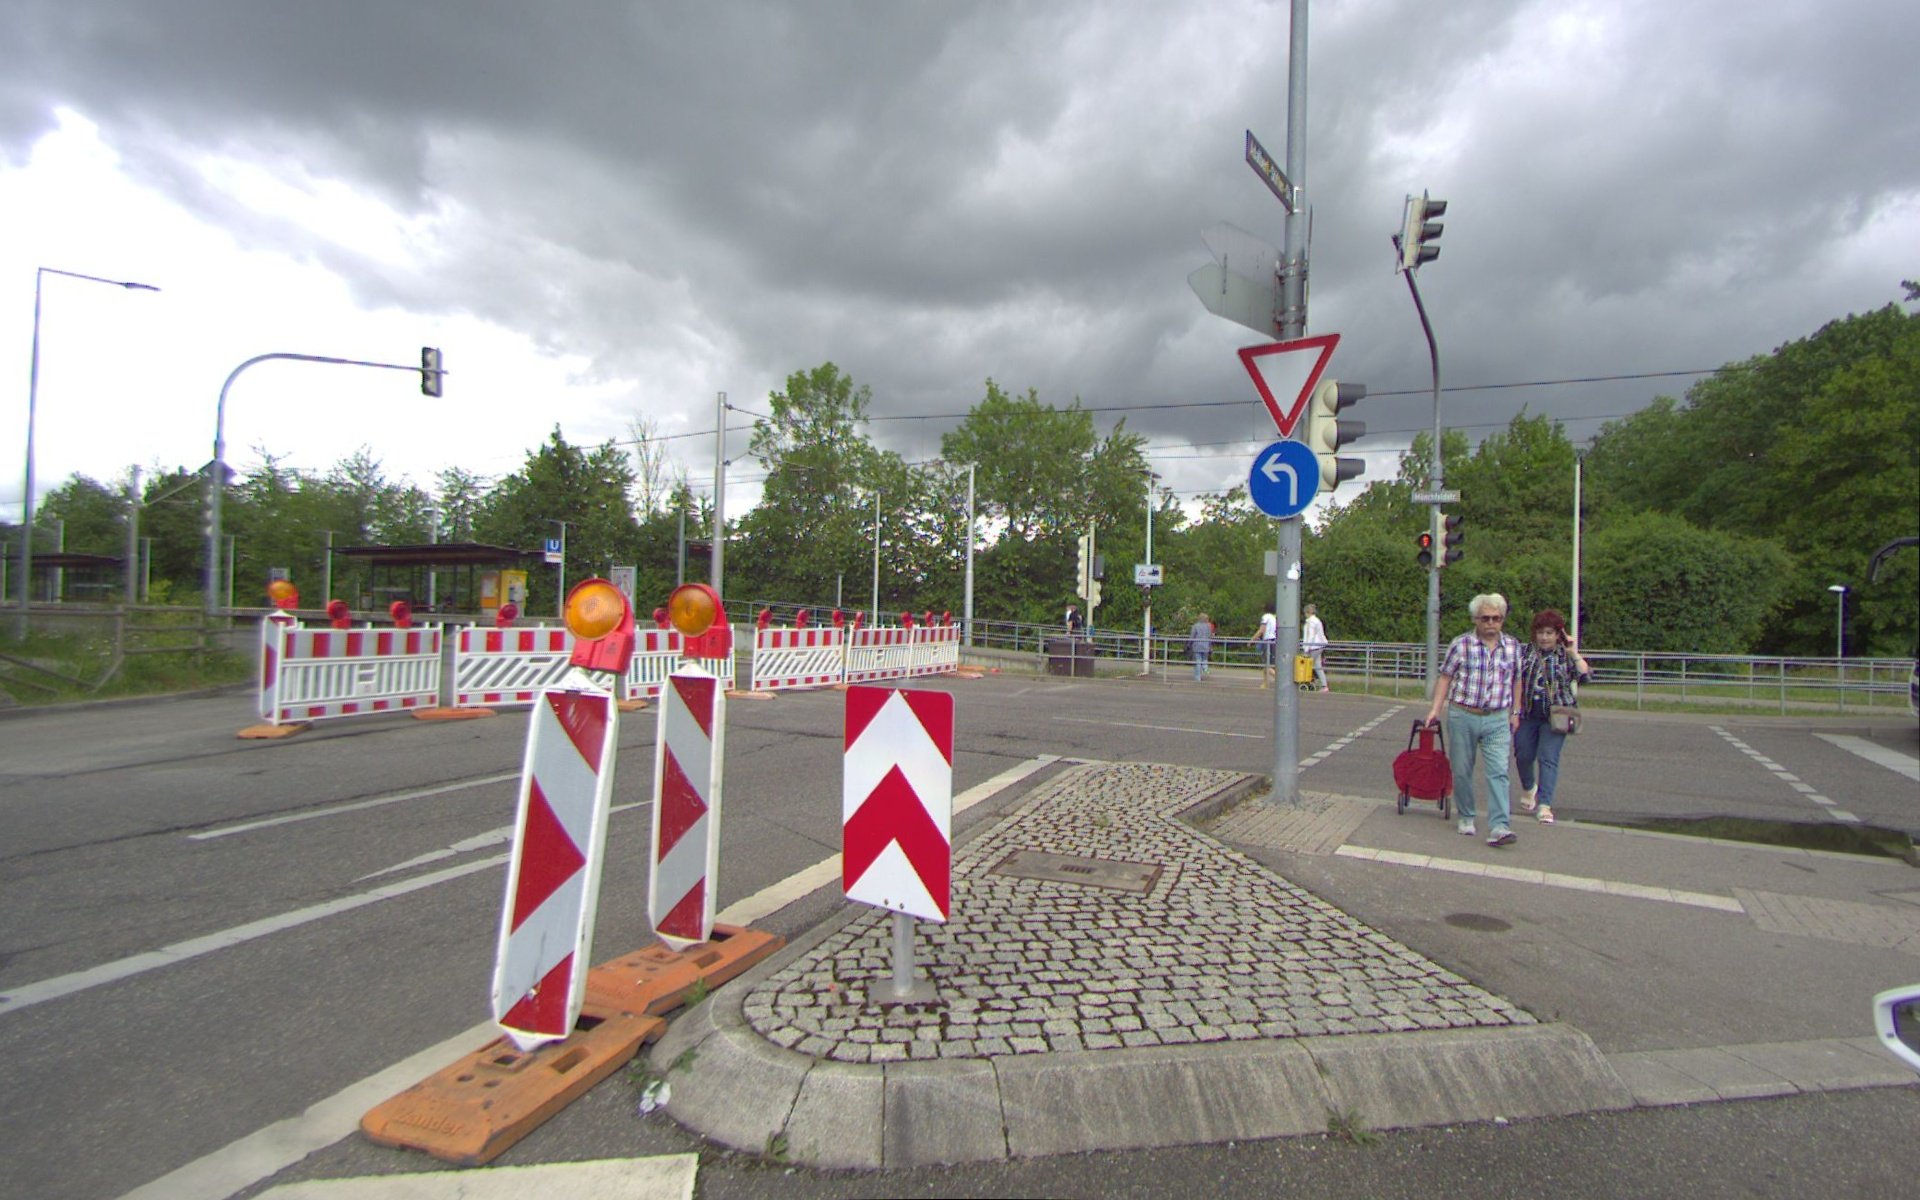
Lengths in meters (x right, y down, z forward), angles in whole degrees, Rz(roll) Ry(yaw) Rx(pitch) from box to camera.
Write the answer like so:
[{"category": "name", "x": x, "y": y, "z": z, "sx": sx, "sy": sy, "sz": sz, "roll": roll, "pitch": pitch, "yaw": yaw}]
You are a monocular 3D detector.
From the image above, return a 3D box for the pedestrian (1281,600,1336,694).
[{"category": "pedestrian", "x": 6.823, "y": 0.906, "z": 19.662, "sx": 0.711, "sy": 1.771, "sz": 0.953, "roll": 1, "pitch": 0, "yaw": 38}]

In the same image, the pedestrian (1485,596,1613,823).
[{"category": "pedestrian", "x": 4.400, "y": 0.781, "z": 7.555, "sx": 0.679, "sy": 1.587, "sz": 0.732, "roll": 2, "pitch": 0, "yaw": 21}]

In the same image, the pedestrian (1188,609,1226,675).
[{"category": "pedestrian", "x": 6.382, "y": 1.072, "z": 25.942, "sx": 0.710, "sy": 1.643, "sz": 0.803, "roll": 1, "pitch": 0, "yaw": 32}]

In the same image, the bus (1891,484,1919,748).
[{"category": "bus", "x": 16.778, "y": 0.264, "z": 9.017, "sx": 11.990, "sy": 3.245, "sz": 2.668, "roll": 1, "pitch": -1, "yaw": 33}]

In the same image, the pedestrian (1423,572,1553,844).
[{"category": "pedestrian", "x": 3.452, "y": 0.682, "z": 6.617, "sx": 0.686, "sy": 1.654, "sz": 0.722, "roll": -1, "pitch": -3, "yaw": 26}]

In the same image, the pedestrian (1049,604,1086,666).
[{"category": "pedestrian", "x": 3.125, "y": 1.021, "z": 29.327, "sx": 0.711, "sy": 1.771, "sz": 0.953, "roll": 2, "pitch": 0, "yaw": -18}]

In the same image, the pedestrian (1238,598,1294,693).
[{"category": "pedestrian", "x": 5.913, "y": 0.859, "z": 19.391, "sx": 0.711, "sy": 1.771, "sz": 0.953, "roll": 1, "pitch": 0, "yaw": 38}]

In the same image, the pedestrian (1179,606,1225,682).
[{"category": "pedestrian", "x": 5.870, "y": 1.059, "z": 24.361, "sx": 0.939, "sy": 1.771, "sz": 0.722, "roll": 2, "pitch": 0, "yaw": 24}]
